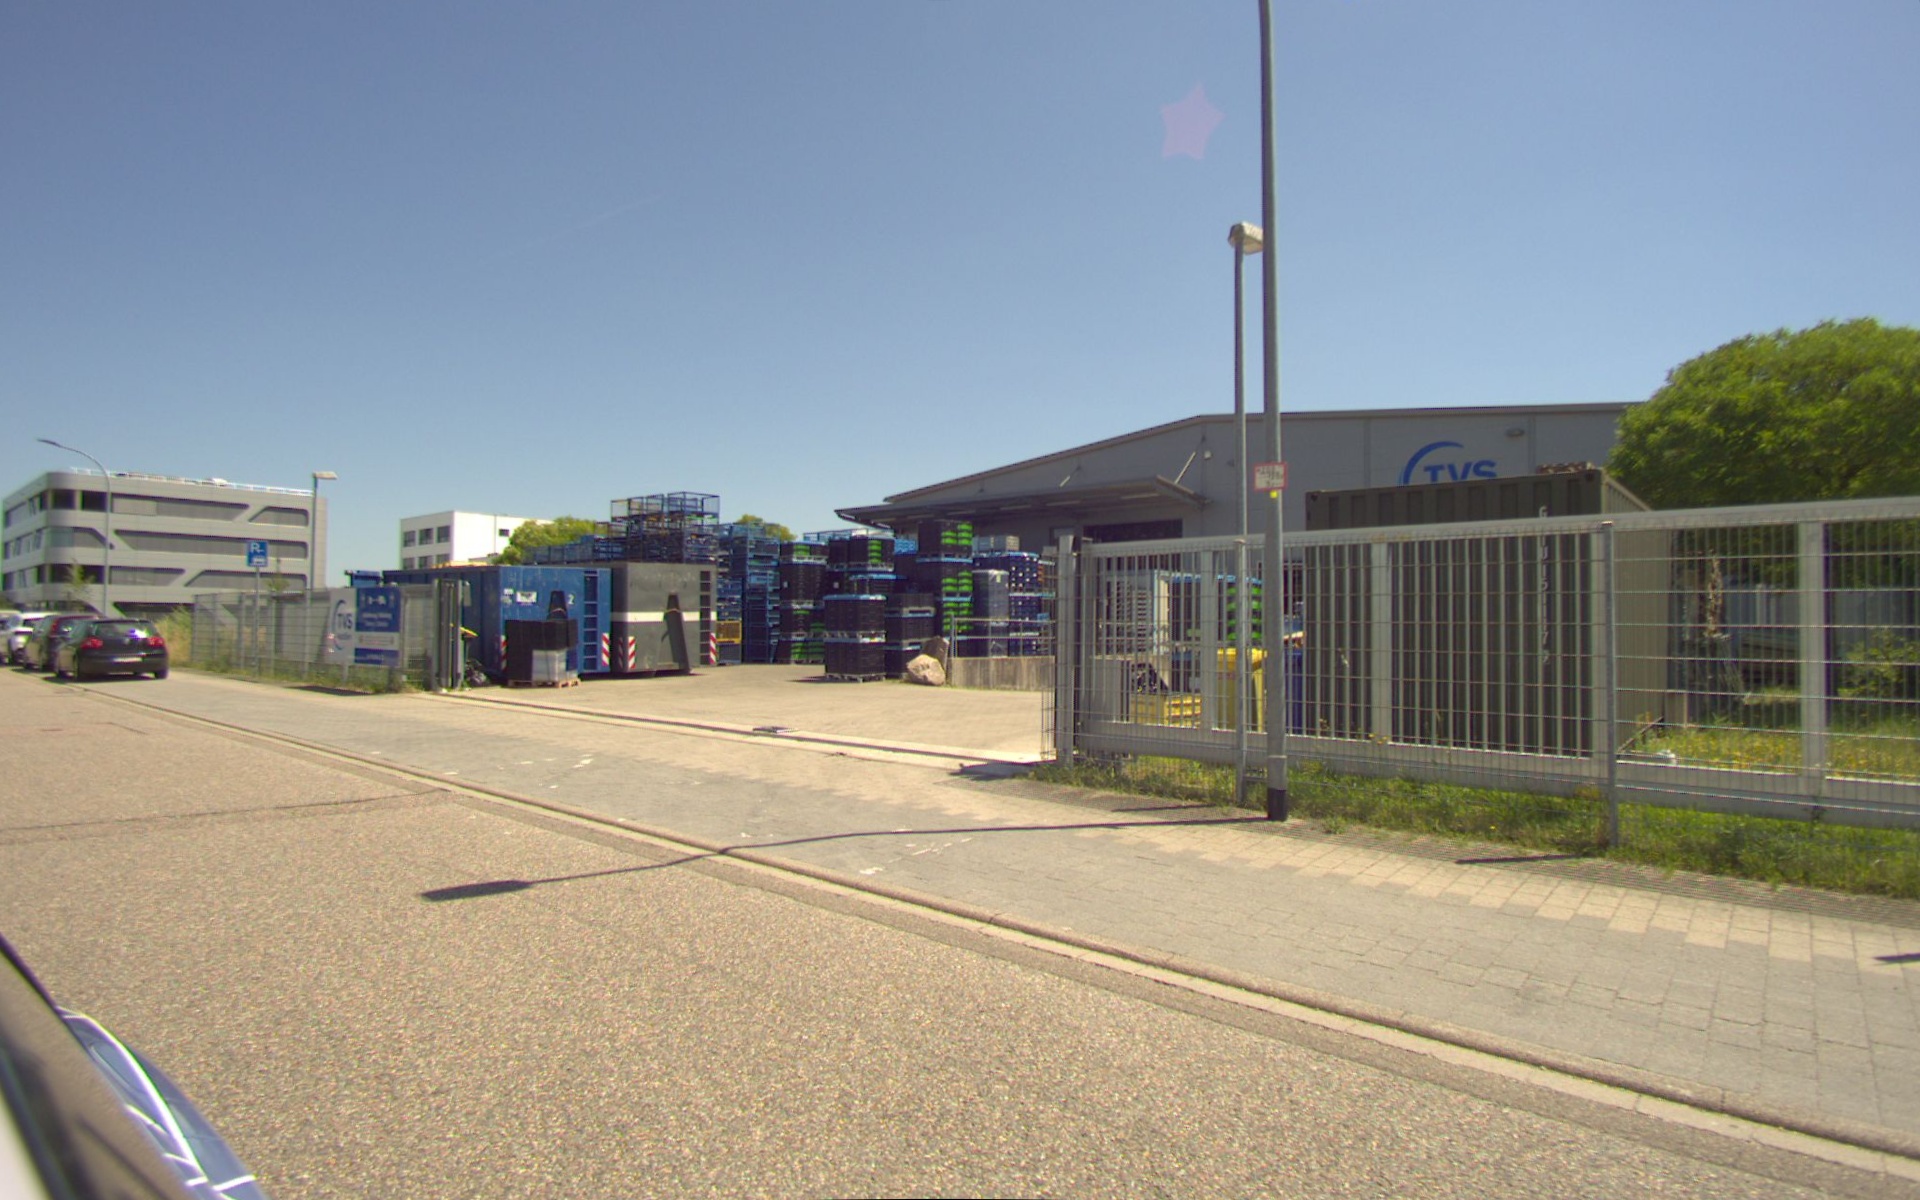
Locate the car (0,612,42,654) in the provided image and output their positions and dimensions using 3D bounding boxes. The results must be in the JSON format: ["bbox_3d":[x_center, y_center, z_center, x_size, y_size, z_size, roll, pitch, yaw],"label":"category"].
[{"bbox_3d":[-35.703,1.213,37.636,4.227,1.492,1.838,-1,-1,41],"label":"car"}]

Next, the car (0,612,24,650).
[{"bbox_3d":[-39.744,1.233,41.253,4.812,1.492,1.757,-1,-1,40],"label":"car"}]

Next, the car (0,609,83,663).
[{"bbox_3d":[-29.205,1.083,31.860,4.356,1.604,1.751,-1,-1,40],"label":"car"}]

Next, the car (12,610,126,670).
[{"bbox_3d":[-25.122,1.058,28.488,4.497,1.568,1.751,-1,-1,40],"label":"car"}]

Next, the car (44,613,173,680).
[{"bbox_3d":[-20.829,1.069,24.699,4.331,1.472,1.751,-1,-1,41],"label":"car"}]
